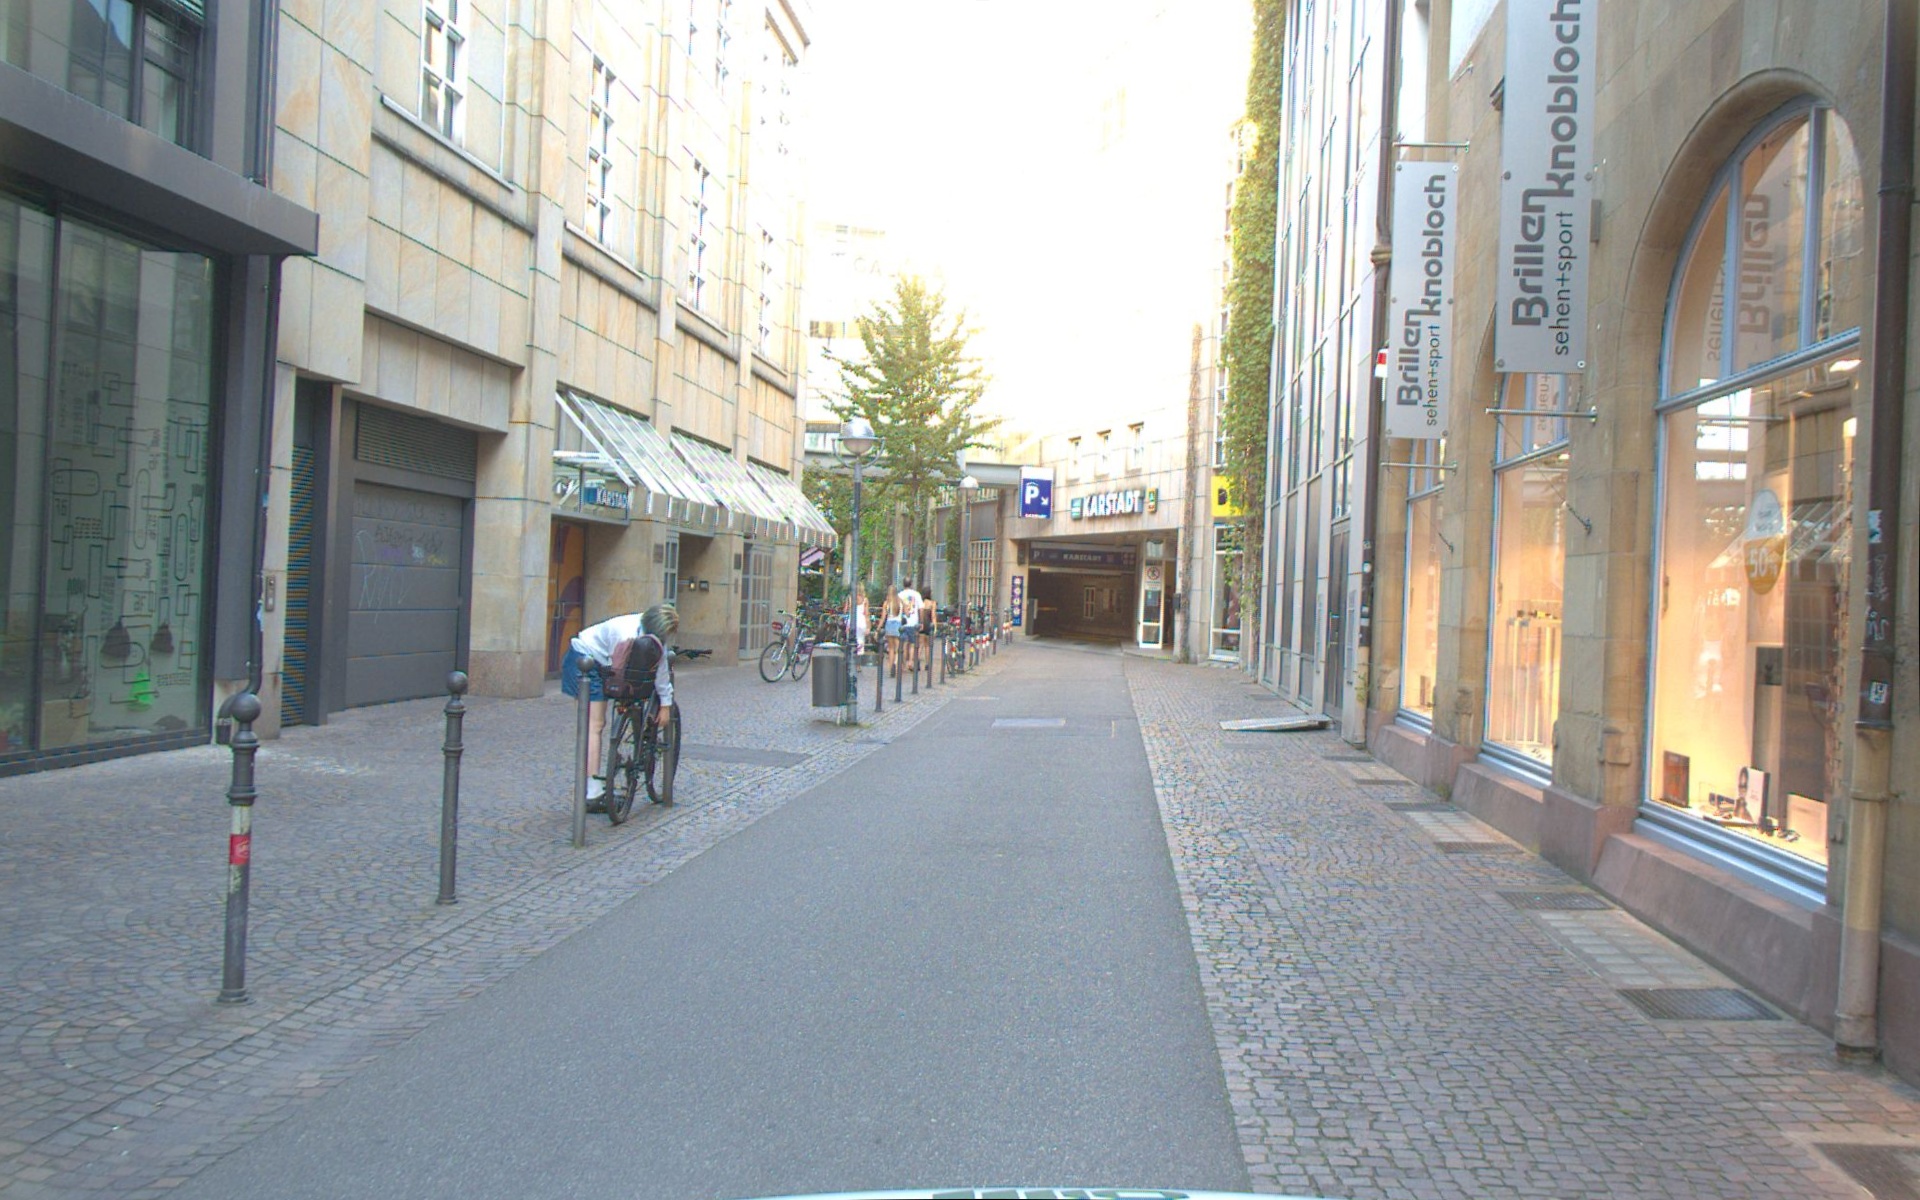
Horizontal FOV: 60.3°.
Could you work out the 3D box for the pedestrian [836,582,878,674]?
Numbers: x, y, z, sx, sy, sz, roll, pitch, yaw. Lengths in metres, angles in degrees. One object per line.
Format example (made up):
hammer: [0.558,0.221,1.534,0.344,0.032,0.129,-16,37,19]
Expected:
pedestrian: [-1.945,0.516,31.366,0.660,1.693,0.861,2,0,2]

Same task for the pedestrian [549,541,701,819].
pedestrian: [-2.215,0.515,10.982,0.752,1.748,0.592,4,0,4]

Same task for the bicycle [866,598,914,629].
bicycle: [-2.687,0.517,63.208,1.744,1.134,0.540,2,0,-16]

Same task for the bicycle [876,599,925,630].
bicycle: [-2.236,0.548,62.137,1.744,1.134,0.540,2,0,-16]

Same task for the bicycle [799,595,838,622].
bicycle: [-6.594,0.377,77.016,1.744,1.211,0.584,2,0,-16]

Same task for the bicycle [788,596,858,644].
bicycle: [-3.735,0.548,45.111,1.805,1.246,0.531,1,0,-18]

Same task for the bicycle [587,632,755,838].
bicycle: [-1.867,0.835,10.965,0.521,1.173,1.916,4,0,6]

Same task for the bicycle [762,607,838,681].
bicycle: [-2.631,0.711,27.370,0.511,1.158,1.764,1,0,21]

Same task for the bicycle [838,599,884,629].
bicycle: [-3.922,0.548,65.570,1.744,1.134,0.540,2,0,-16]

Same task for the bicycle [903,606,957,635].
bicycle: [-1.005,0.678,55.241,1.744,0.920,0.461,2,0,-16]

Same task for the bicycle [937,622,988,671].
bicycle: [0.072,0.939,34.002,0.483,0.955,1.659,3,0,19]

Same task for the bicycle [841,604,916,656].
bicycle: [-2.001,0.733,40.629,1.739,1.252,0.531,1,0,-18]

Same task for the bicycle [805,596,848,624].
bicycle: [-5.776,0.437,71.514,1.743,1.134,0.541,2,0,-13]

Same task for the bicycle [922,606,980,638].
bicycle: [-0.294,0.729,54.330,1.818,0.999,0.461,2,0,-16]

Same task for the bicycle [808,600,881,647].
bicycle: [-3.052,0.624,43.848,1.843,1.198,0.531,1,0,-18]

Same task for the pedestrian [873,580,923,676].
pedestrian: [-1.161,0.518,31.118,0.789,1.759,0.949,2,0,3]

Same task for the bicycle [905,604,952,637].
bicycle: [-1.073,0.684,56.200,1.514,1.067,0.573,2,0,-16]

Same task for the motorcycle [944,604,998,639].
motorcycle: [0.354,0.693,52.578,1.636,1.069,0.461,2,0,-16]

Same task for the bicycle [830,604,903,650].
bicycle: [-2.416,0.703,42.840,1.808,1.142,0.531,1,0,-18]

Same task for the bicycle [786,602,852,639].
bicycle: [-4.176,0.604,48.944,1.847,1.061,0.531,1,0,-18]

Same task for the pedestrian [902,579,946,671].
pedestrian: [-0.738,0.505,34.075,0.768,1.826,0.972,2,0,4]

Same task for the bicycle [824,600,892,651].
bicycle: [-2.598,0.643,41.960,1.628,1.252,0.531,1,0,-18]

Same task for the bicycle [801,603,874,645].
bicycle: [-3.284,0.648,44.398,1.864,1.070,0.531,1,0,-18]

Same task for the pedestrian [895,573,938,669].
pedestrian: [-0.856,0.412,32.838,0.726,1.854,0.878,2,0,3]
